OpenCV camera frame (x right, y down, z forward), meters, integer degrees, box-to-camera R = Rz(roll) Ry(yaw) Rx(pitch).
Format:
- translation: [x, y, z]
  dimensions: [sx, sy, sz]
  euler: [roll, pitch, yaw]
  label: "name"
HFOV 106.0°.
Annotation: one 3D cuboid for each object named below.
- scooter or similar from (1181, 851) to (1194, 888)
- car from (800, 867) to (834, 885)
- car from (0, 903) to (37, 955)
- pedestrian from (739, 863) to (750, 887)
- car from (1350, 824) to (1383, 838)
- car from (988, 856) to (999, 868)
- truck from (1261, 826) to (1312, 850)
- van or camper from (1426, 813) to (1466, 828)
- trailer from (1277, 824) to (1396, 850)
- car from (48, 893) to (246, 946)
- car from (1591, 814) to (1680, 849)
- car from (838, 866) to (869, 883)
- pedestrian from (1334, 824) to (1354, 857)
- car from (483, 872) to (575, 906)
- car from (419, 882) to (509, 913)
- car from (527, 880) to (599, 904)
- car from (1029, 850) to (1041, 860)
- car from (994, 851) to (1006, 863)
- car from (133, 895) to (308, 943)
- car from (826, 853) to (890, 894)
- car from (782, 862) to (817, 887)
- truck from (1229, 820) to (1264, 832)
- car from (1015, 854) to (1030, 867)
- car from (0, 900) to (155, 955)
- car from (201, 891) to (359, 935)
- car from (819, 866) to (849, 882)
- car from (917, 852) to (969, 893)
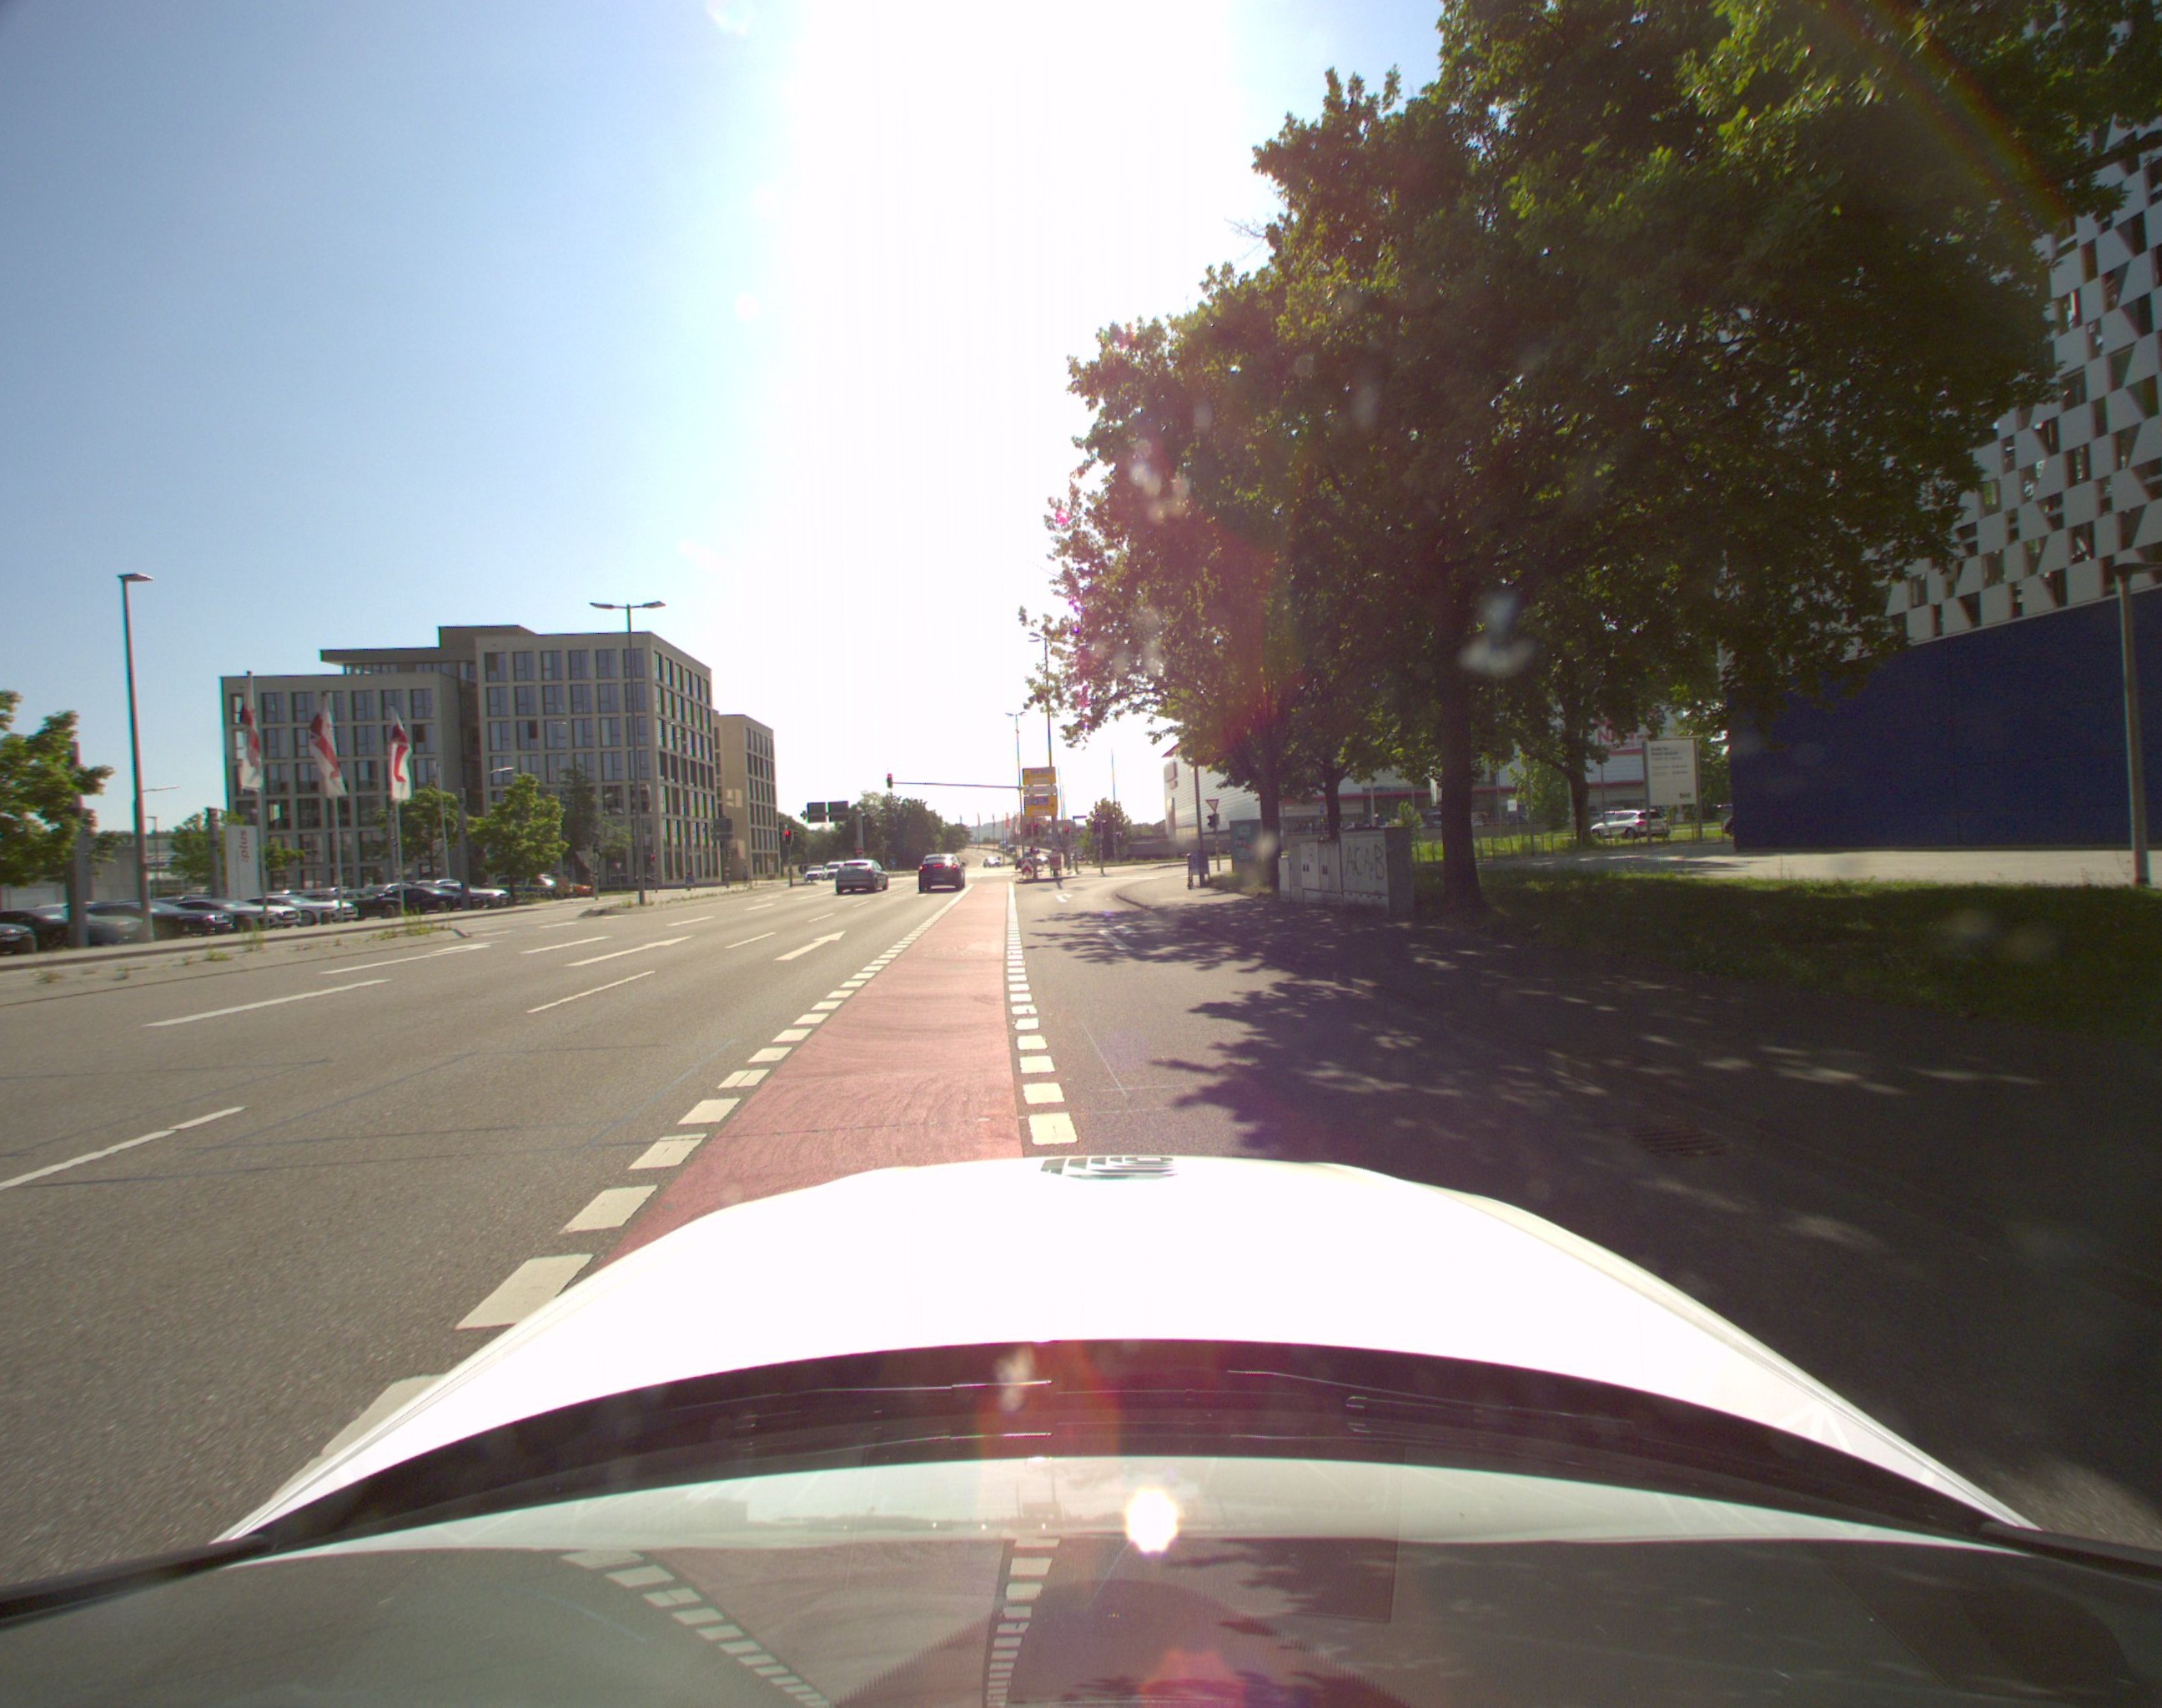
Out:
- translation: [3.804, 0.539, 28.955]
  dimensions: [0.349, 1.233, 1.314]
  euler: [-3, 0, 9]
  label: "scooter or similar"
- translation: [-24.906, 2.043, 76.939]
  dimensions: [1.886, 1.464, 3.999]
  euler: [-3, 0, 0]
  label: "car"
- translation: [-30.840, 2.137, 21.338]
  dimensions: [3.982, 1.343, 1.996]
  euler: [-3, 0, -6]
  label: "car"
- translation: [-28.571, 1.754, 69.156]
  dimensions: [0.760, 2.013, 0.925]
  euler: [-1, 1, -30]
  label: "pedestrian"
- translation: [41.197, -3.284, 117.620]
  dimensions: [3.982, 2.013, 1.996]
  euler: [-1, 1, -7]
  label: "car"
- translation: [-14.954, 1.364, 138.910]
  dimensions: [1.758, 1.793, 3.339]
  euler: [-3, 0, -6]
  label: "car"
- translation: [21.354, -1.695, 84.721]
  dimensions: [4.869, 2.423, 1.998]
  euler: [-1, 1, -3]
  label: "truck"
- translation: [52.730, -4.857, 117.647]
  dimensions: [4.977, 2.013, 1.996]
  euler: [-1, 1, -6]
  label: "van or camper"
- translation: [26.600, -1.757, 84.909]
  dimensions: [11.838, 2.469, 1.999]
  euler: [-1, 1, -2]
  label: "trailer"
- translation: [-31.110, 2.154, 27.260]
  dimensions: [3.982, 1.343, 1.996]
  euler: [-3, 0, -6]
  label: "car"
- translation: [27.400, -1.073, 40.395]
  dimensions: [1.780, 1.489, 3.928]
  euler: [-3, 0, 1]
  label: "car"
- translation: [-21.842, 1.968, 78.404]
  dimensions: [1.810, 1.464, 3.999]
  euler: [-3, 0, 0]
  label: "car"
- translation: [14.631, -0.736, 45.270]
  dimensions: [0.628, 1.770, 0.801]
  euler: [-3, 0, -15]
  label: "pedestrian"
- translation: [-39.006, 2.431, 57.627]
  dimensions: [4.904, 2.050, 1.997]
  euler: [-3, 0, -4]
  label: "car"
- translation: [-32.479, 2.298, 42.932]
  dimensions: [3.404, 1.343, 1.643]
  euler: [-3, 0, -3]
  label: "car"
- translation: [-38.766, 2.834, 60.990]
  dimensions: [3.979, 1.464, 1.997]
  euler: [-3, 0, -4]
  label: "car"
- translation: [-6.316, 0.145, 112.542]
  dimensions: [1.685, 1.359, 3.996]
  euler: [-1, 1, -3]
  label: "car"
- translation: [-14.617, 0.503, 146.712]
  dimensions: [1.990, 2.013, 3.975]
  euler: [-1, 1, -4]
  label: "car"
- translation: [-31.332, 2.324, 29.764]
  dimensions: [3.982, 1.343, 1.996]
  euler: [-3, 0, -6]
  label: "car"
- translation: [-10.218, 0.871, 37.649]
  dimensions: [1.990, 1.684, 3.994]
  euler: [-3, 0, -4]
  label: "car"
- translation: [-16.527, 1.174, 47.893]
  dimensions: [1.212, 1.331, 2.796]
  euler: [-1, 1, -3]
  label: "car"
- translation: [29.850, -5.109, 147.030]
  dimensions: [5.896, 2.013, 1.998]
  euler: [-1, 1, -3]
  label: "truck"
- translation: [-6.957, 0.736, 96.700]
  dimensions: [1.685, 1.359, 3.996]
  euler: [-1, 1, -3]
  label: "car"
- translation: [-30.972, 2.220, 24.320]
  dimensions: [3.983, 1.343, 1.995]
  euler: [-3, 0, -7]
  label: "car"
- translation: [-31.570, 2.301, 32.223]
  dimensions: [3.982, 1.343, 1.996]
  euler: [-3, 0, -6]
  label: "car"
- translation: [-25.511, 2.006, 84.127]
  dimensions: [1.810, 1.464, 3.999]
  euler: [-3, 0, 0]
  label: "car"
- translation: [-6.272, 0.787, 37.436]
  dimensions: [1.803, 1.640, 4.453]
  euler: [-3, 0, -3]
  label: "car"
